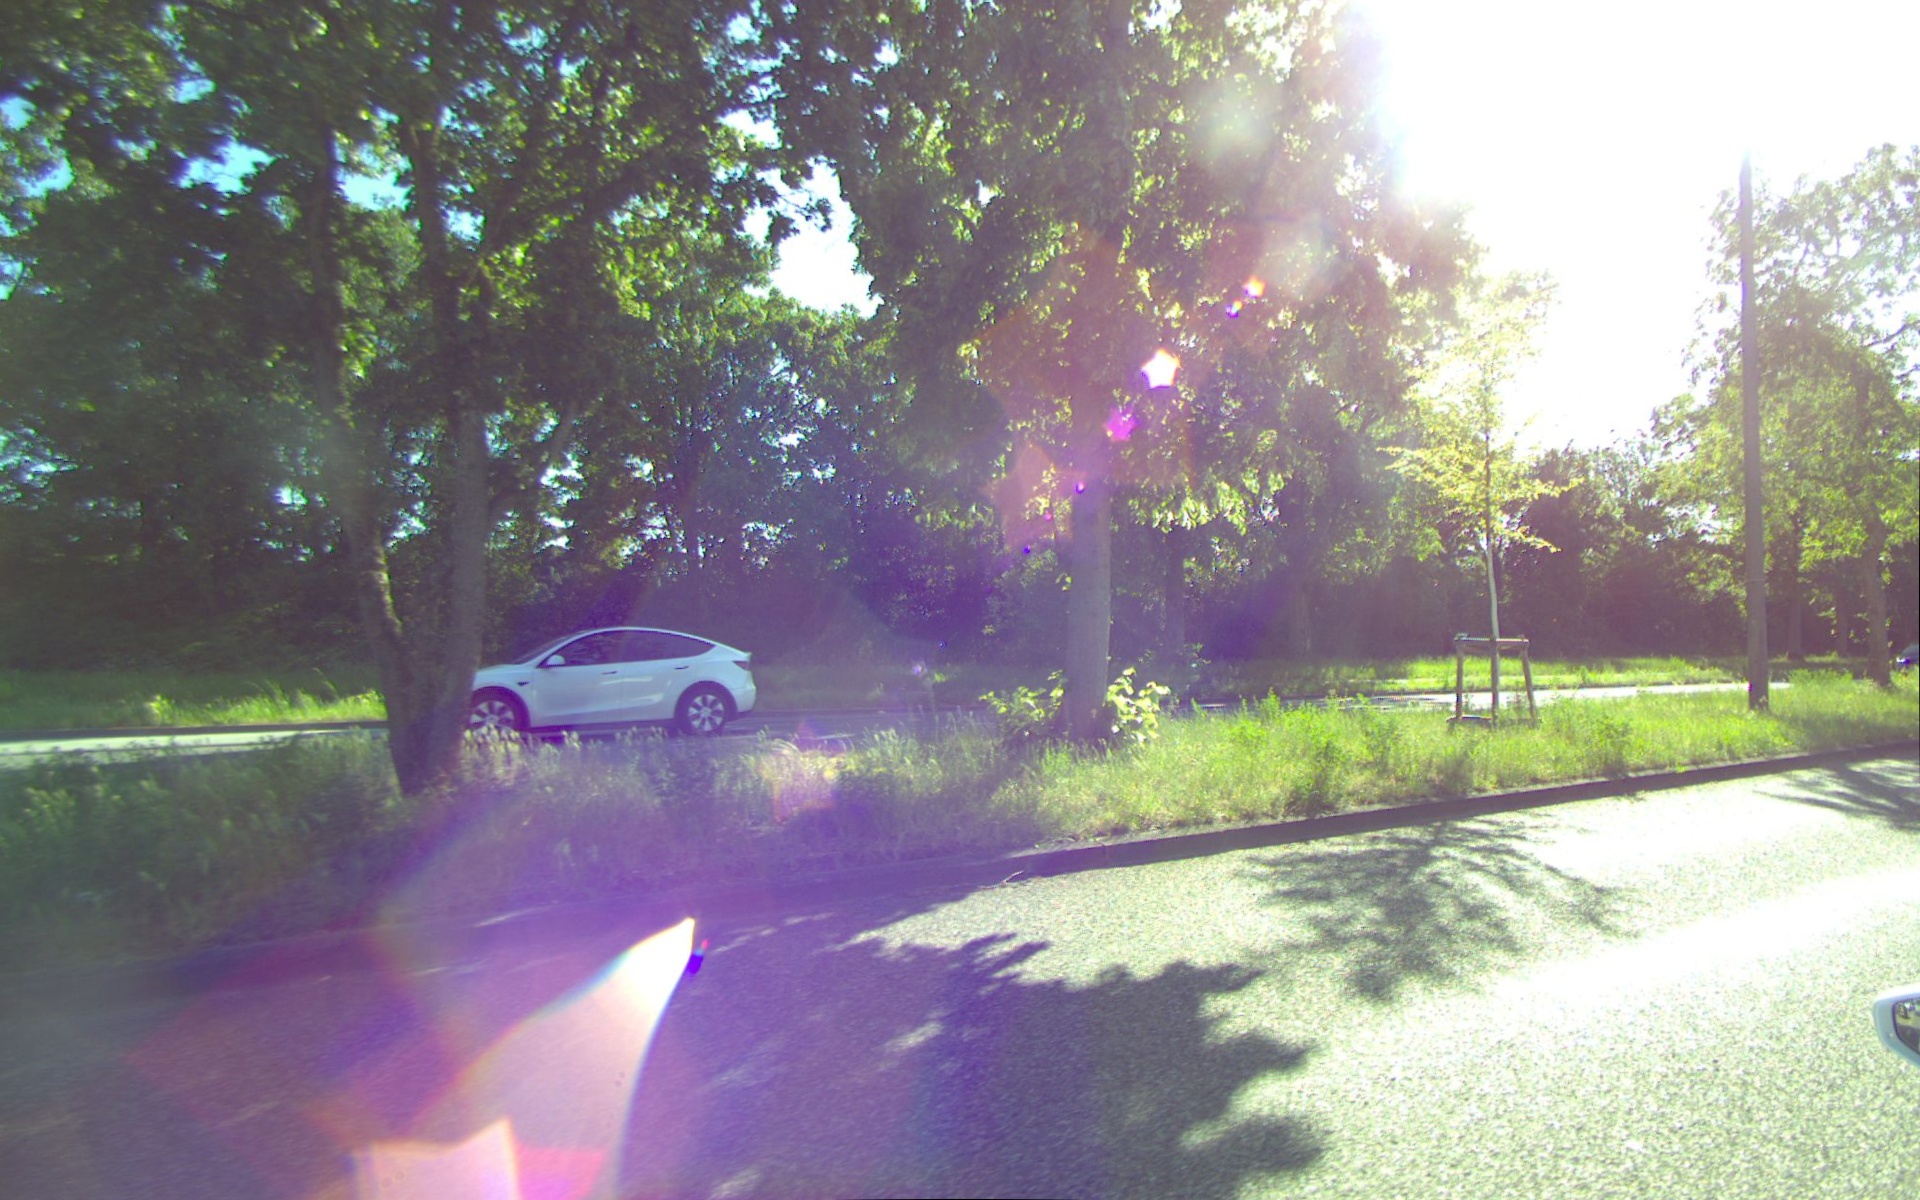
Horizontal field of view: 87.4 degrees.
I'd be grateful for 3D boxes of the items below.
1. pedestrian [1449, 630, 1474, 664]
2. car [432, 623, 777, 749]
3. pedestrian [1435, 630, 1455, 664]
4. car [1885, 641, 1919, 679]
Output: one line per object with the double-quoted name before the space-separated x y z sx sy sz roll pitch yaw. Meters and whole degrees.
"pedestrian" 22.015 2.077 44.107 0.906 1.479 0.542 1 -2 -30
"car" -5.192 1.241 14.845 4.534 1.609 1.831 1 -7 -32
"pedestrian" 21.612 2.081 44.738 0.589 1.479 0.542 1 -2 -30
"car" 40.299 2.468 41.937 2.984 1.525 1.706 1 -4 -33
